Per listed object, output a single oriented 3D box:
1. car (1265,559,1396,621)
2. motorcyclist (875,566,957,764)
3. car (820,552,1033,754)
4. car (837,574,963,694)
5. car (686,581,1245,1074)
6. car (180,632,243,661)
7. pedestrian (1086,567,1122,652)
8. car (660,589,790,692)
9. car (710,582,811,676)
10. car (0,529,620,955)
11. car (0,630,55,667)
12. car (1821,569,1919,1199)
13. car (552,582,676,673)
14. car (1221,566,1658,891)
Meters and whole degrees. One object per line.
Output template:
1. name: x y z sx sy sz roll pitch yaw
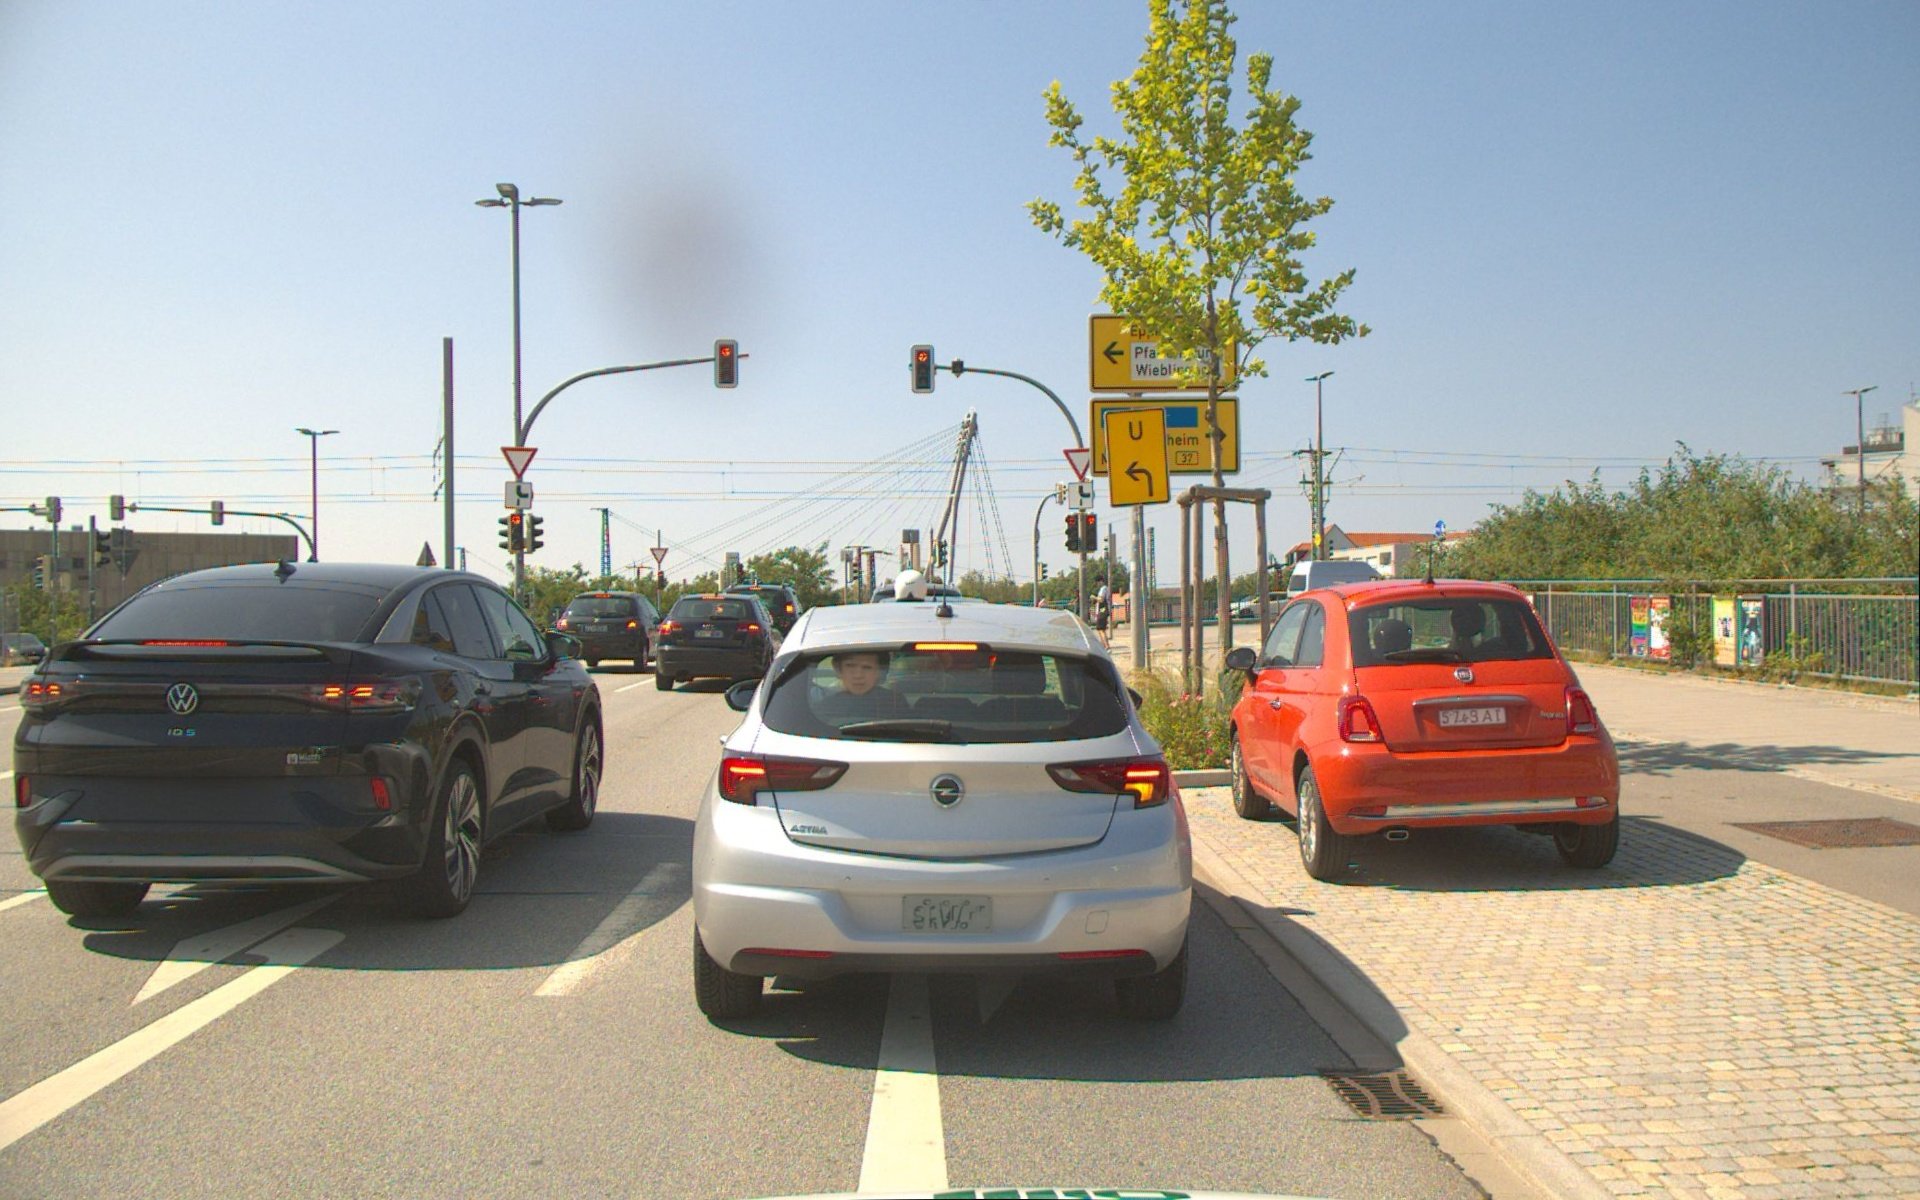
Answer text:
1. car: 14.747 -0.380 65.821 4.922 2.418 1.775 0 -1 -18
2. motorcyclist: -0.321 0.465 12.228 0.570 1.413 0.706 1 -1 -1
3. car: -0.343 0.466 17.578 1.953 1.852 4.401 1 1 -1
4. car: -0.831 0.431 24.375 1.689 1.591 4.000 1 1 -1
5. car: -0.085 0.715 7.104 1.708 1.503 3.997 1 0 -3
6. car: -36.114 2.246 79.765 1.806 1.354 3.941 1 -2 -40
7. pedestrian: 3.222 0.212 37.133 0.634 1.868 0.797 -2 0 -3
8. car: -3.570 0.586 25.638 1.543 1.459 3.785 1 0 -2
9. car: -3.742 0.528 31.517 1.616 1.643 3.818 1 0 -3
10. car: -3.115 0.576 8.761 1.765 1.670 4.365 1 0 -1
11. car: -41.261 2.130 73.110 1.662 1.502 3.358 -1 1 -39
12. car: 2.916 0.619 1.902 1.627 1.451 3.998 -2 0 -2
13. car: -6.403 0.496 30.968 1.565 1.574 3.761 1 0 -1
14. car: 2.609 0.616 9.764 1.577 1.522 3.352 -2 0 0
